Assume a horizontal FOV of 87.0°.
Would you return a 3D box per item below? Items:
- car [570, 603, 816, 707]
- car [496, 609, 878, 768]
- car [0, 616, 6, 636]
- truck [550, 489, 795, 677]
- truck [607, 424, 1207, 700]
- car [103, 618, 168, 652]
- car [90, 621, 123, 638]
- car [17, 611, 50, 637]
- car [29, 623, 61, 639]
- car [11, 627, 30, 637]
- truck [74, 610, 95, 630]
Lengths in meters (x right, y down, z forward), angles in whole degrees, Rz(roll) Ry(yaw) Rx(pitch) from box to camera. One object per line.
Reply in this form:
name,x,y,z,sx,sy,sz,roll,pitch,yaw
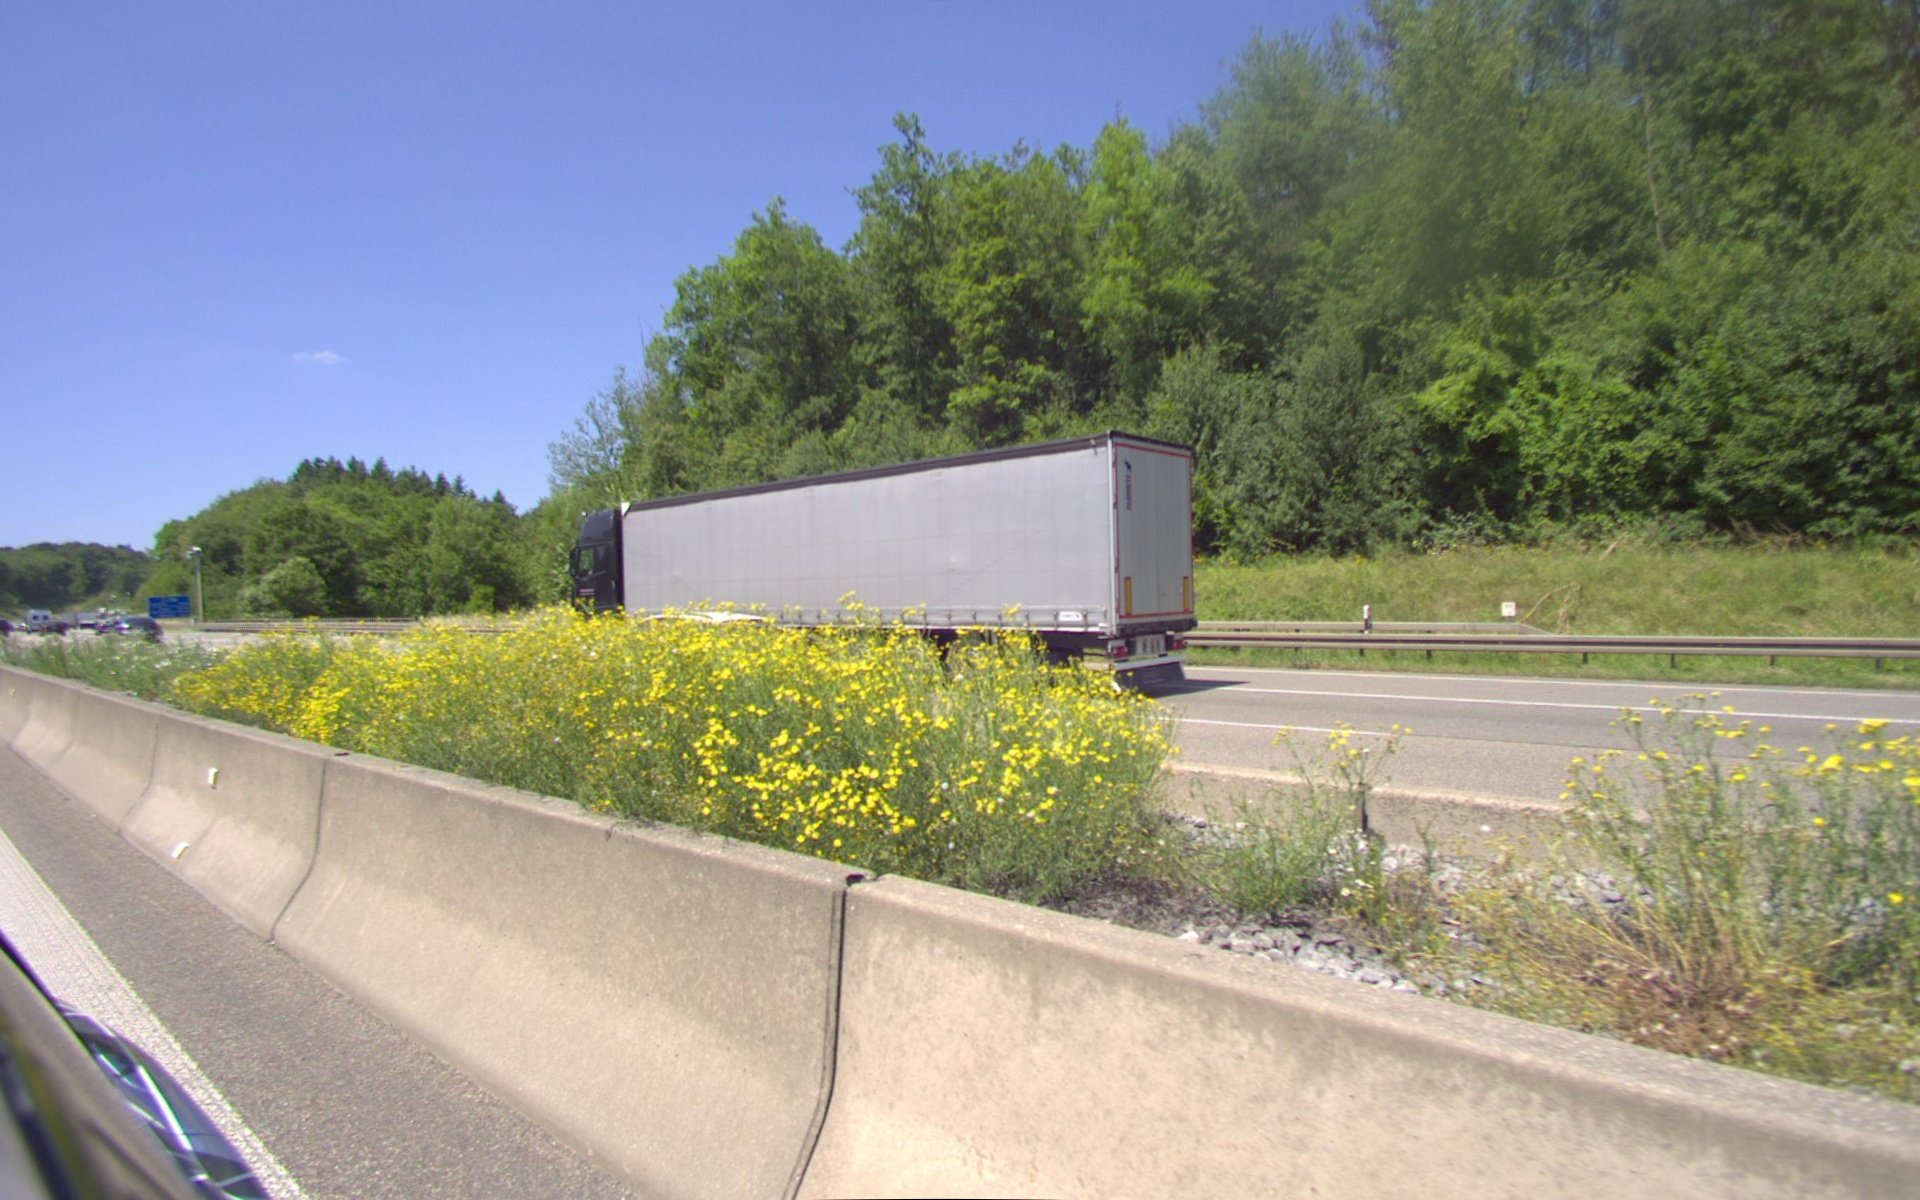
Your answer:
car,-4.581,0.846,17.051,4.246,1.509,1.973,-1,-1,41
car,-3.070,0.816,10.923,4.246,1.351,1.973,-1,-1,41
car,-89.404,2.439,93.153,4.356,1.737,1.972,-2,-1,43
truck,-7.050,-0.310,24.413,6.002,3.969,2.800,-2,-1,40
truck,-2.061,-0.427,20.121,13.735,3.968,2.800,-1,-1,41
car,-43.213,1.815,52.993,4.473,1.640,1.972,-1,0,42
car,-77.855,2.737,92.263,3.999,1.464,1.820,-2,-1,43
car,-103.147,2.666,112.672,6.062,2.722,2.191,-1,0,43
car,-83.455,2.837,92.273,4.271,1.412,1.794,-2,-1,43
car,-142.033,4.877,152.940,4.234,1.431,1.822,-2,-1,44
truck,-164.085,3.761,189.684,2.703,3.501,7.322,-1,-1,-43
